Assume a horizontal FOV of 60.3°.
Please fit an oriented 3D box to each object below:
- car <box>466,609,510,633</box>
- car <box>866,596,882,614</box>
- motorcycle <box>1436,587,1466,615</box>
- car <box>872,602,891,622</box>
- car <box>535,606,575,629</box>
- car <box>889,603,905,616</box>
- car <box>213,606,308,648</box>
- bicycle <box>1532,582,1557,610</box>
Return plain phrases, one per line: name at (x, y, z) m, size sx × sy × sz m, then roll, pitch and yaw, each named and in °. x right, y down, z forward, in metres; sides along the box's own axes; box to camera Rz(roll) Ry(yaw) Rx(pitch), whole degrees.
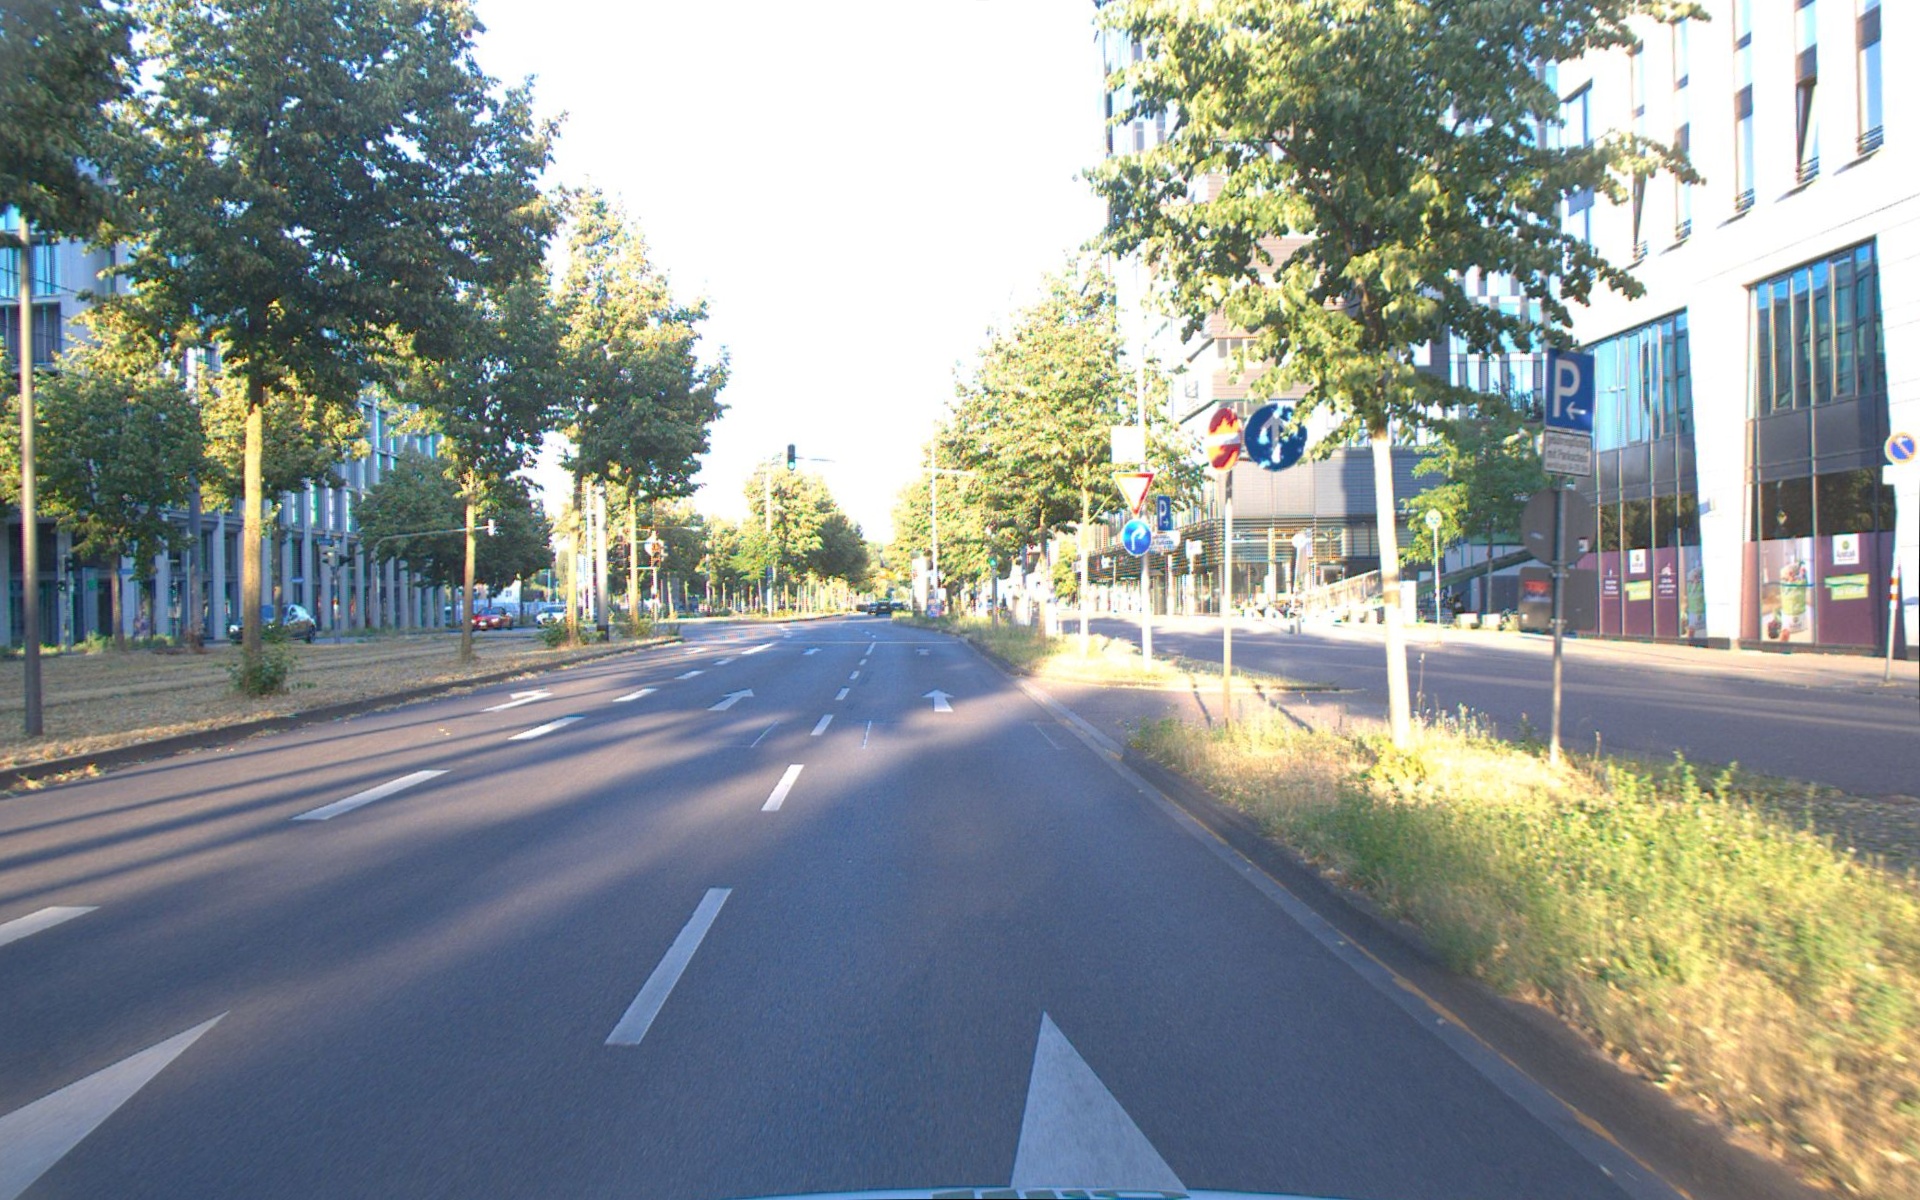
car at (-28.456, 1.234, 99.787) m, size 1.624 × 1.355 × 4.524 m, roll -1°, pitch 0°, yaw -4°
car at (-10.703, 0.609, 206.093) m, size 2.046 × 2.049 × 3.998 m, roll -1°, pitch 0°, yaw -3°
motorcycle at (19.955, 0.044, 67.221) m, size 0.636 × 1.113 × 2.333 m, roll -1°, pitch 0°, yaw 3°
car at (-8.470, 1.243, 178.283) m, size 1.954 × 2.049 × 3.998 m, roll -1°, pitch 0°, yaw -3°
car at (-25.232, 1.082, 103.091) m, size 1.751 × 1.355 × 3.669 m, roll -1°, pitch 0°, yaw -4°
car at (-7.623, 1.152, 201.821) m, size 1.834 × 1.601 × 3.676 m, roll -1°, pitch 0°, yaw -1°
car at (-24.516, 0.925, 58.114) m, size 1.624 × 1.355 × 4.581 m, roll -1°, pitch 0°, yaw -4°
bicycle at (23.223, -0.164, 65.728) m, size 0.555 × 1.070 × 1.769 m, roll -1°, pitch 0°, yaw 8°
